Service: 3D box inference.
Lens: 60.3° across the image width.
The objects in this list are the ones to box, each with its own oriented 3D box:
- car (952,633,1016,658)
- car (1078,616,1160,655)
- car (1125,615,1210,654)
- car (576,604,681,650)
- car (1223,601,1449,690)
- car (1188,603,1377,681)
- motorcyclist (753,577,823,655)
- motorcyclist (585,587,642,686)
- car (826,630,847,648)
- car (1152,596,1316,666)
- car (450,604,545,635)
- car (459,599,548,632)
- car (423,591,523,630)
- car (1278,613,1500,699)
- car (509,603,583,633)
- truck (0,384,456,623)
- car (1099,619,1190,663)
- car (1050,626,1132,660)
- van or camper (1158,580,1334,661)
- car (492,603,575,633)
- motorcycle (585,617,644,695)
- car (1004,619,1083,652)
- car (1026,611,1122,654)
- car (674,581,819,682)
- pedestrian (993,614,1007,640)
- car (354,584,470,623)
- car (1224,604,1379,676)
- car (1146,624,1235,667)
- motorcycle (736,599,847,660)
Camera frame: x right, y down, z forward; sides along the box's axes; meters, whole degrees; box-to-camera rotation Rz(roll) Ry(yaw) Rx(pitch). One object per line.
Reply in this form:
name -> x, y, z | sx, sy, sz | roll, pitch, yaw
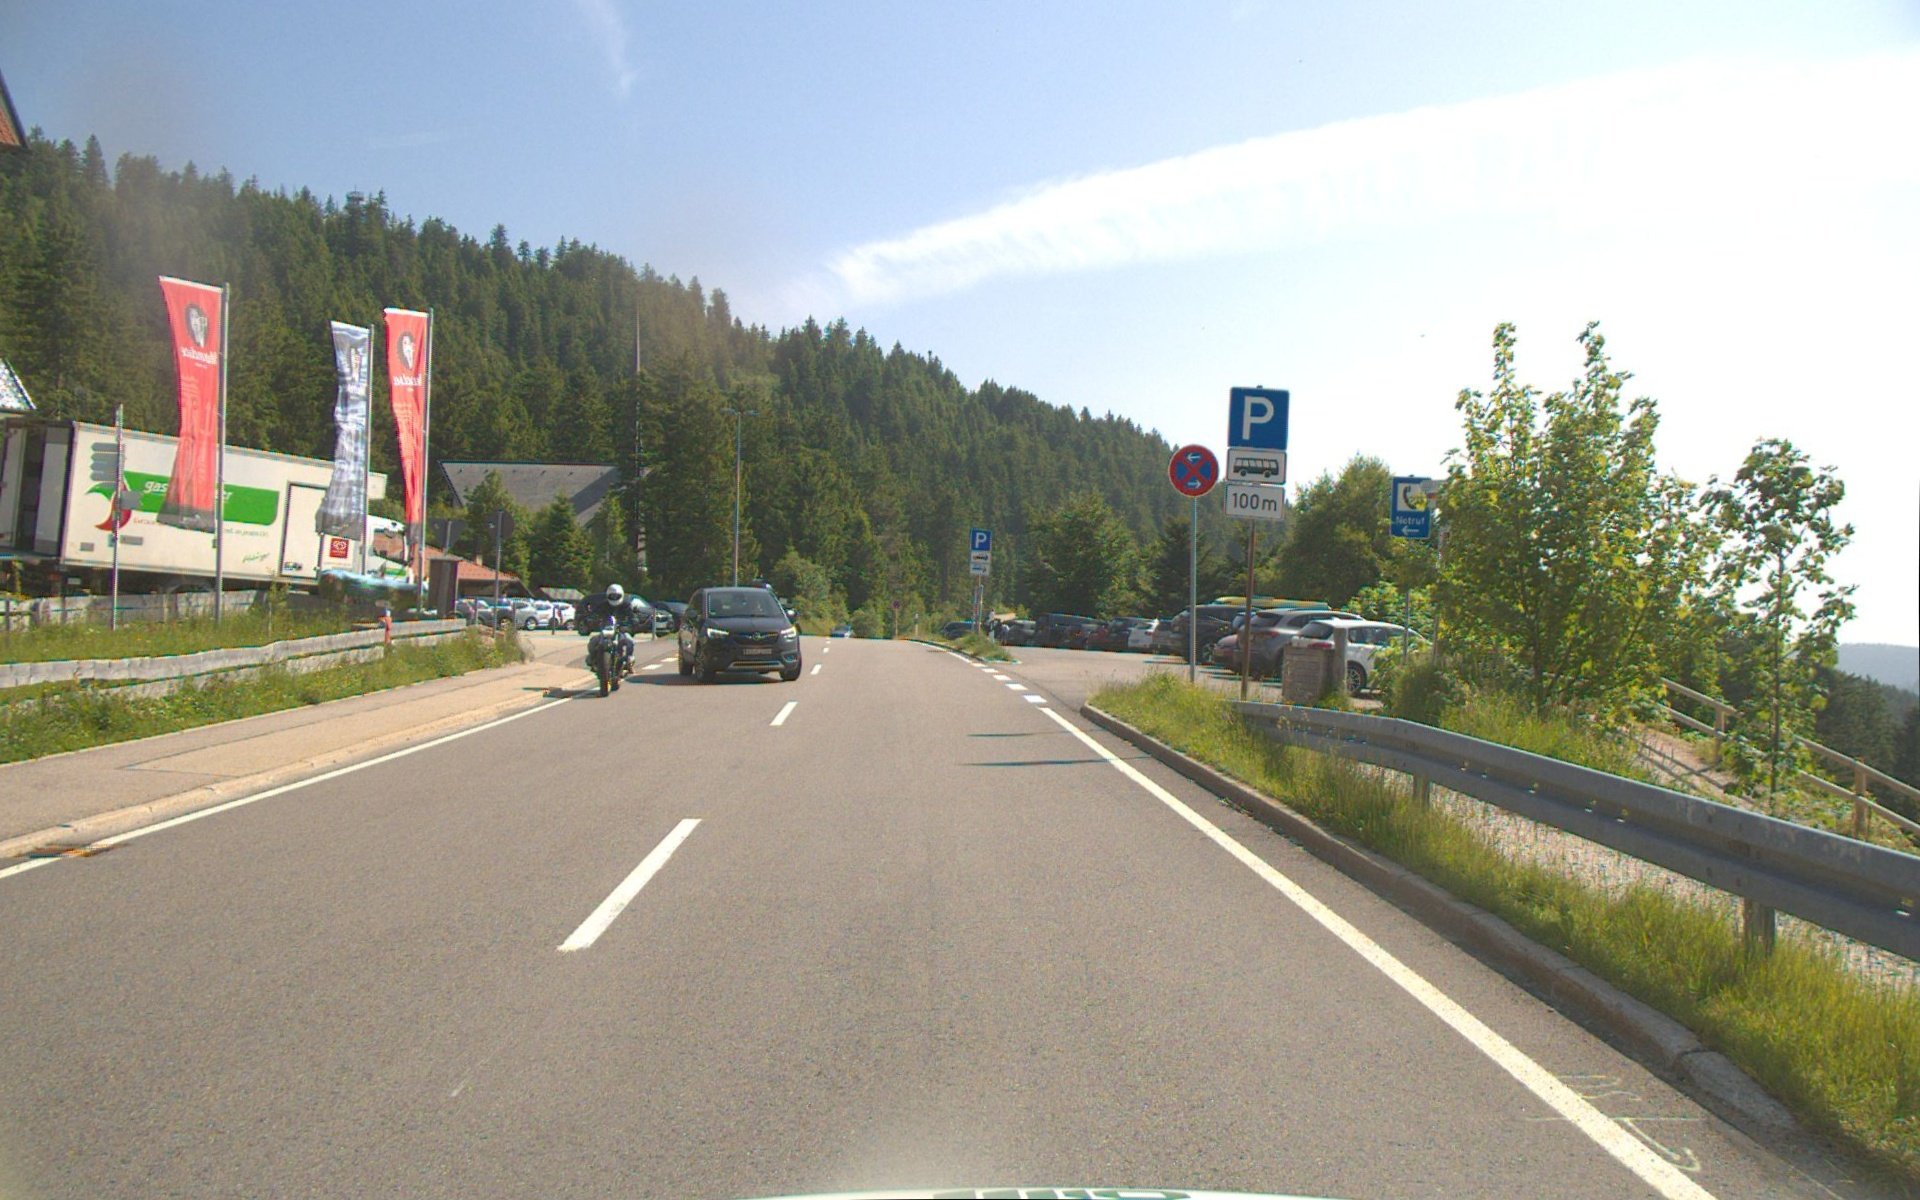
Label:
car -> 1.789, 3.414, 123.623 | 4.390, 1.321, 1.573 | 8, -2, -20
car -> 8.017, 1.793, 83.226 | 3.965, 1.617, 1.836 | 6, -3, -42
car -> 9.709, 1.624, 77.190 | 3.965, 1.502, 1.741 | 6, -3, -42
car -> -12.251, 0.982, 61.003 | 4.122, 1.567, 1.795 | 1, 0, 45
car -> 8.122, 0.969, 35.808 | 4.324, 1.595, 1.900 | 4, 0, -15
car -> 7.605, 0.986, 39.112 | 3.919, 1.536, 1.836 | 4, 0, -14
motorcyclist -> -3.751, 0.347, 35.995 | 1.281, 1.670, 0.873 | 1, 0, -29
motorcyclist -> -5.273, 0.548, 25.151 | 0.824, 1.466, 1.002 | 0, -1, -13
car -> -10.525, 3.331, 141.387 | 1.548, 1.454, 3.371 | 1, 0, -1
car -> 7.400, 0.844, 44.865 | 3.914, 1.641, 1.912 | 3, -1, -9
car -> -21.977, 0.931, 78.680 | 3.967, 1.395, 1.784 | 1, 0, -43
car -> -23.177, 0.794, 84.074 | 1.865, 1.572, 3.976 | 1, 0, 42
car -> -22.095, 0.483, 75.085 | 3.969, 1.734, 1.796 | 1, 0, -44
car -> 8.509, 1.100, 32.920 | 3.919, 1.409, 1.651 | 4, -1, -14
car -> -24.133, 1.070, 96.499 | 1.743, 1.701, 4.010 | -1, -2, 39
truck -> -15.335, -1.830, 35.081 | 3.007, 4.041, 8.743 | 4, -1, 34
car -> 8.903, 1.979, 79.484 | 4.236, 1.724, 1.961 | 6, -3, -42
car -> 6.775, 2.220, 85.525 | 3.947, 1.439, 1.726 | 6, -2, -32
van or camper -> 8.798, 0.619, 51.125 | 4.987, 2.048, 1.882 | 5, 0, 0
car -> -23.324, 0.995, 90.553 | 1.964, 1.601, 3.977 | 0, -1, 41
motorcycle -> -5.266, 0.825, 25.118 | 0.824, 1.115, 2.175 | 0, -1, -13
car -> 4.649, 1.948, 91.709 | 3.937, 1.468, 1.825 | 5, -2, -25
car -> 6.122, 1.757, 88.675 | 4.694, 1.912, 1.952 | 5, -2, -23
car -> -3.859, 0.520, 29.314 | 1.948, 1.645, 4.131 | 0, 0, -16
pedestrian -> 2.272, 1.512, 93.066 | 0.757, 1.427, 0.669 | 1, 0, 2
car -> -21.591, 0.144, 65.301 | 1.879, 1.455, 3.979 | 1, 0, 40
car -> 8.732, 1.005, 42.407 | 3.510, 1.521, 1.647 | 4, 0, -3
car -> 10.372, 2.057, 74.287 | 3.965, 1.576, 1.793 | 6, -3, -42
motorcycle -> -3.661, 0.632, 36.047 | 2.294, 1.287, 0.806 | 1, 0, -29
